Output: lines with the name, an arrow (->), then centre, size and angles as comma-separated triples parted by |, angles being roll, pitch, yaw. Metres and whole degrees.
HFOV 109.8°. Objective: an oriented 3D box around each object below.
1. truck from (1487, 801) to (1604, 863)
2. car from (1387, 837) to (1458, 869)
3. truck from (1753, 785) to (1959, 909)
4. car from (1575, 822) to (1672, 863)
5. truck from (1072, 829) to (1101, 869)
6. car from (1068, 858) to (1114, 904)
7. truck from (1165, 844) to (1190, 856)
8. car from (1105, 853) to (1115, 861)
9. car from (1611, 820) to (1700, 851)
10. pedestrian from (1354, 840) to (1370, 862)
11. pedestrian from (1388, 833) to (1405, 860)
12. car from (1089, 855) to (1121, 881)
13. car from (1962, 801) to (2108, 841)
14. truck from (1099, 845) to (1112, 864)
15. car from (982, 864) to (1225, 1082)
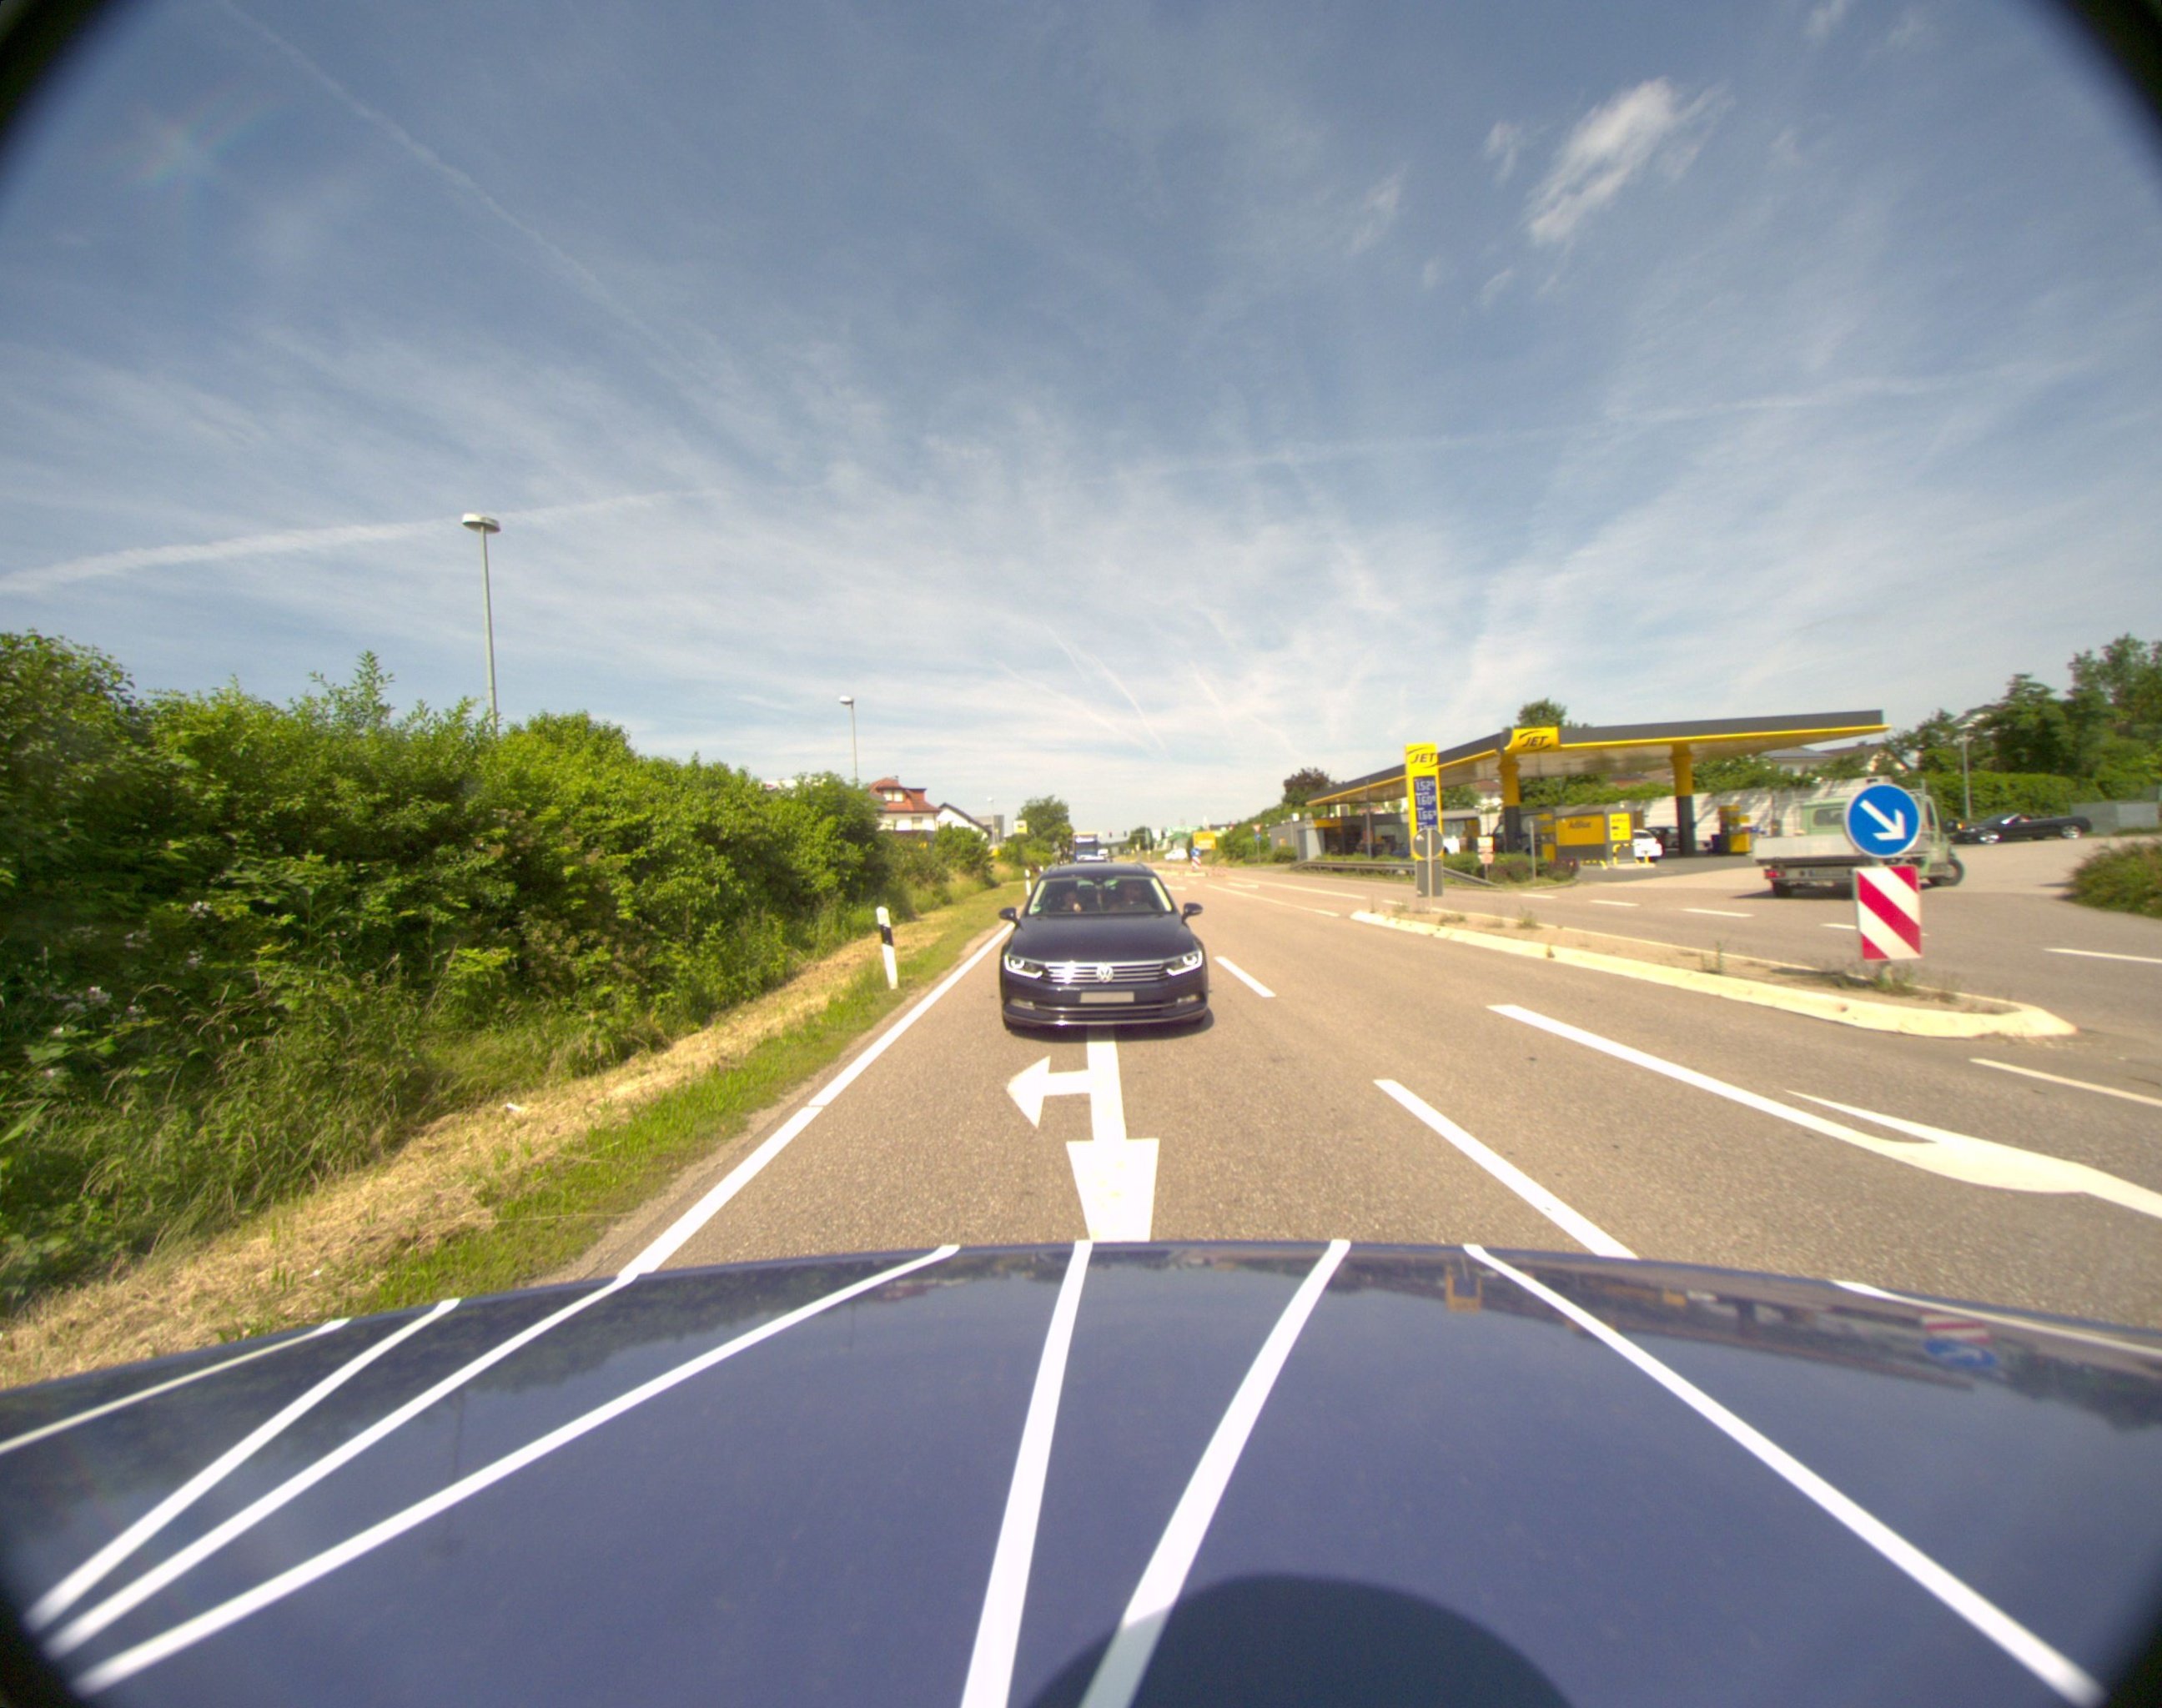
truck -> 24.176, -1.093, 39.927 | 2.250, 2.906, 6.282 | -2, 1, 0
car -> 19.390, -0.035, 43.350 | 1.999, 1.696, 4.264 | -2, 0, -2
truck -> 17.731, -0.251, 17.256 | 6.360, 2.361, 2.243 | -3, 1, -35
car -> 24.524, -0.491, 34.530 | 1.736, 1.717, 4.001 | -1, 0, 4
truck -> 0.693, -0.579, 84.142 | 2.855, 3.999, 12.916 | -2, 0, 1
car -> 0.381, 0.917, 27.504 | 1.471, 1.451, 3.797 | -2, 0, 1
truck -> 19.755, -0.821, 155.275 | 4.772, 1.997, 1.999 | -3, 0, -2
car -> 5.100, 0.488, 132.867 | 1.786, 1.210, 4.000 | -3, 0, 2
car -> 32.544, -0.999, 43.165 | 1.753, 1.603, 3.873 | -2, 0, -9
pedestrian -> 18.903, -0.193, 51.082 | 0.914, 1.419, 0.494 | -2, 1, 11
pedestrian -> 21.774, -0.488, 52.469 | 0.798, 1.827, 0.640 | -3, 0, 2
car -> 1.462, 0.812, 46.159 | 1.814, 1.466, 3.974 | -2, 0, 2
car -> 44.163, -1.491, 35.286 | 3.868, 1.603, 1.755 | -2, 0, 20
truck -> 5.558, 0.019, 173.764 | 2.855, 3.999, 12.916 | -2, 0, 1
car -> 0.220, 0.920, 8.115 | 1.756, 1.493, 4.925 | -2, 0, 1
